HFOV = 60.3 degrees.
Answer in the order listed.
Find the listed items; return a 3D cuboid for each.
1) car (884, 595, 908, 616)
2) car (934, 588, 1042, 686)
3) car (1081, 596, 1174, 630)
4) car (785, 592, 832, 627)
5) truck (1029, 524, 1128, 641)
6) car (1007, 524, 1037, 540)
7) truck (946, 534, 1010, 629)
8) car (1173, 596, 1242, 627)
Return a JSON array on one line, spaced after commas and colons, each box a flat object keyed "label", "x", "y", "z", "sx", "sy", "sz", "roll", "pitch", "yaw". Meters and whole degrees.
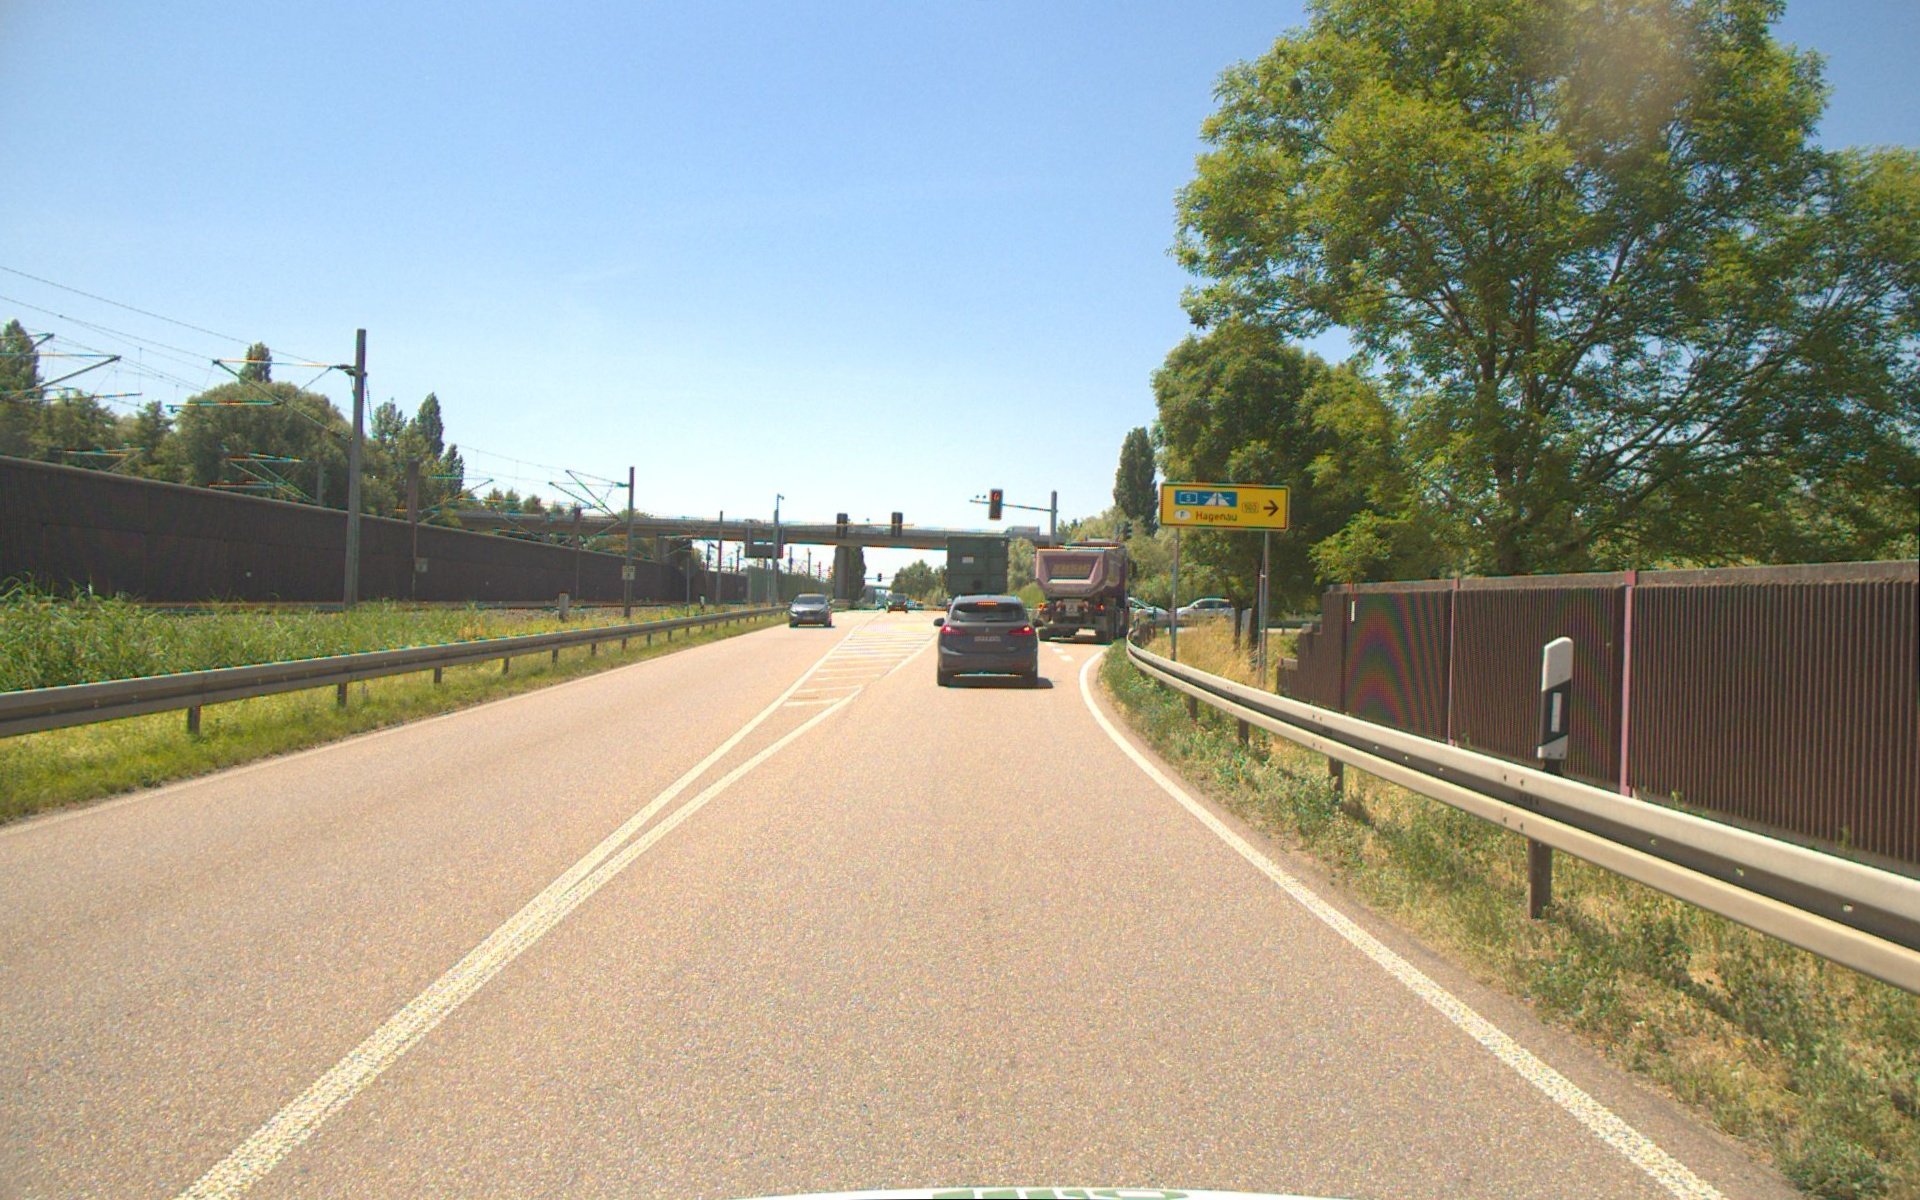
[{"label": "car", "x": -5.856, "y": 0.483, "z": 151.281, "sx": 1.888, "sy": 1.798, "sz": 4.598, "roll": 2, "pitch": 1, "yaw": 0}, {"label": "car", "x": 0.465, "y": 0.625, "z": 30.236, "sx": 1.807, "sy": 1.651, "sz": 4.225, "roll": 1, "pitch": 0, "yaw": 0}, {"label": "car", "x": 8.642, "y": 0.663, "z": 85.195, "sx": 4.549, "sy": 1.660, "sz": 1.935, "roll": 1, "pitch": 0, "yaw": 13}, {"label": "car", "x": -6.760, "y": 0.403, "z": 74.170, "sx": 1.827, "sy": 1.511, "sz": 4.885, "roll": 1, "pitch": 0, "yaw": -3}, {"label": "truck", "x": 4.581, "y": -0.588, "z": 61.683, "sx": 2.773, "sy": 3.888, "sz": 11.894, "roll": 1, "pitch": 0, "yaw": 8}, {"label": "car", "x": 8.408, "y": -9.196, "z": 225.058, "sx": 3.906, "sy": 2.049, "sz": 1.999, "roll": 1, "pitch": 0, "yaw": -2}, {"label": "truck", "x": 0.678, "y": -0.788, "z": 71.585, "sx": 2.537, "sy": 3.803, "sz": 9.574, "roll": 1, "pitch": 0, "yaw": 0}, {"label": "car", "x": 13.953, "y": 0.635, "z": 93.406, "sx": 3.631, "sy": 1.660, "sz": 1.734, "roll": 1, "pitch": 0, "yaw": -1}]
